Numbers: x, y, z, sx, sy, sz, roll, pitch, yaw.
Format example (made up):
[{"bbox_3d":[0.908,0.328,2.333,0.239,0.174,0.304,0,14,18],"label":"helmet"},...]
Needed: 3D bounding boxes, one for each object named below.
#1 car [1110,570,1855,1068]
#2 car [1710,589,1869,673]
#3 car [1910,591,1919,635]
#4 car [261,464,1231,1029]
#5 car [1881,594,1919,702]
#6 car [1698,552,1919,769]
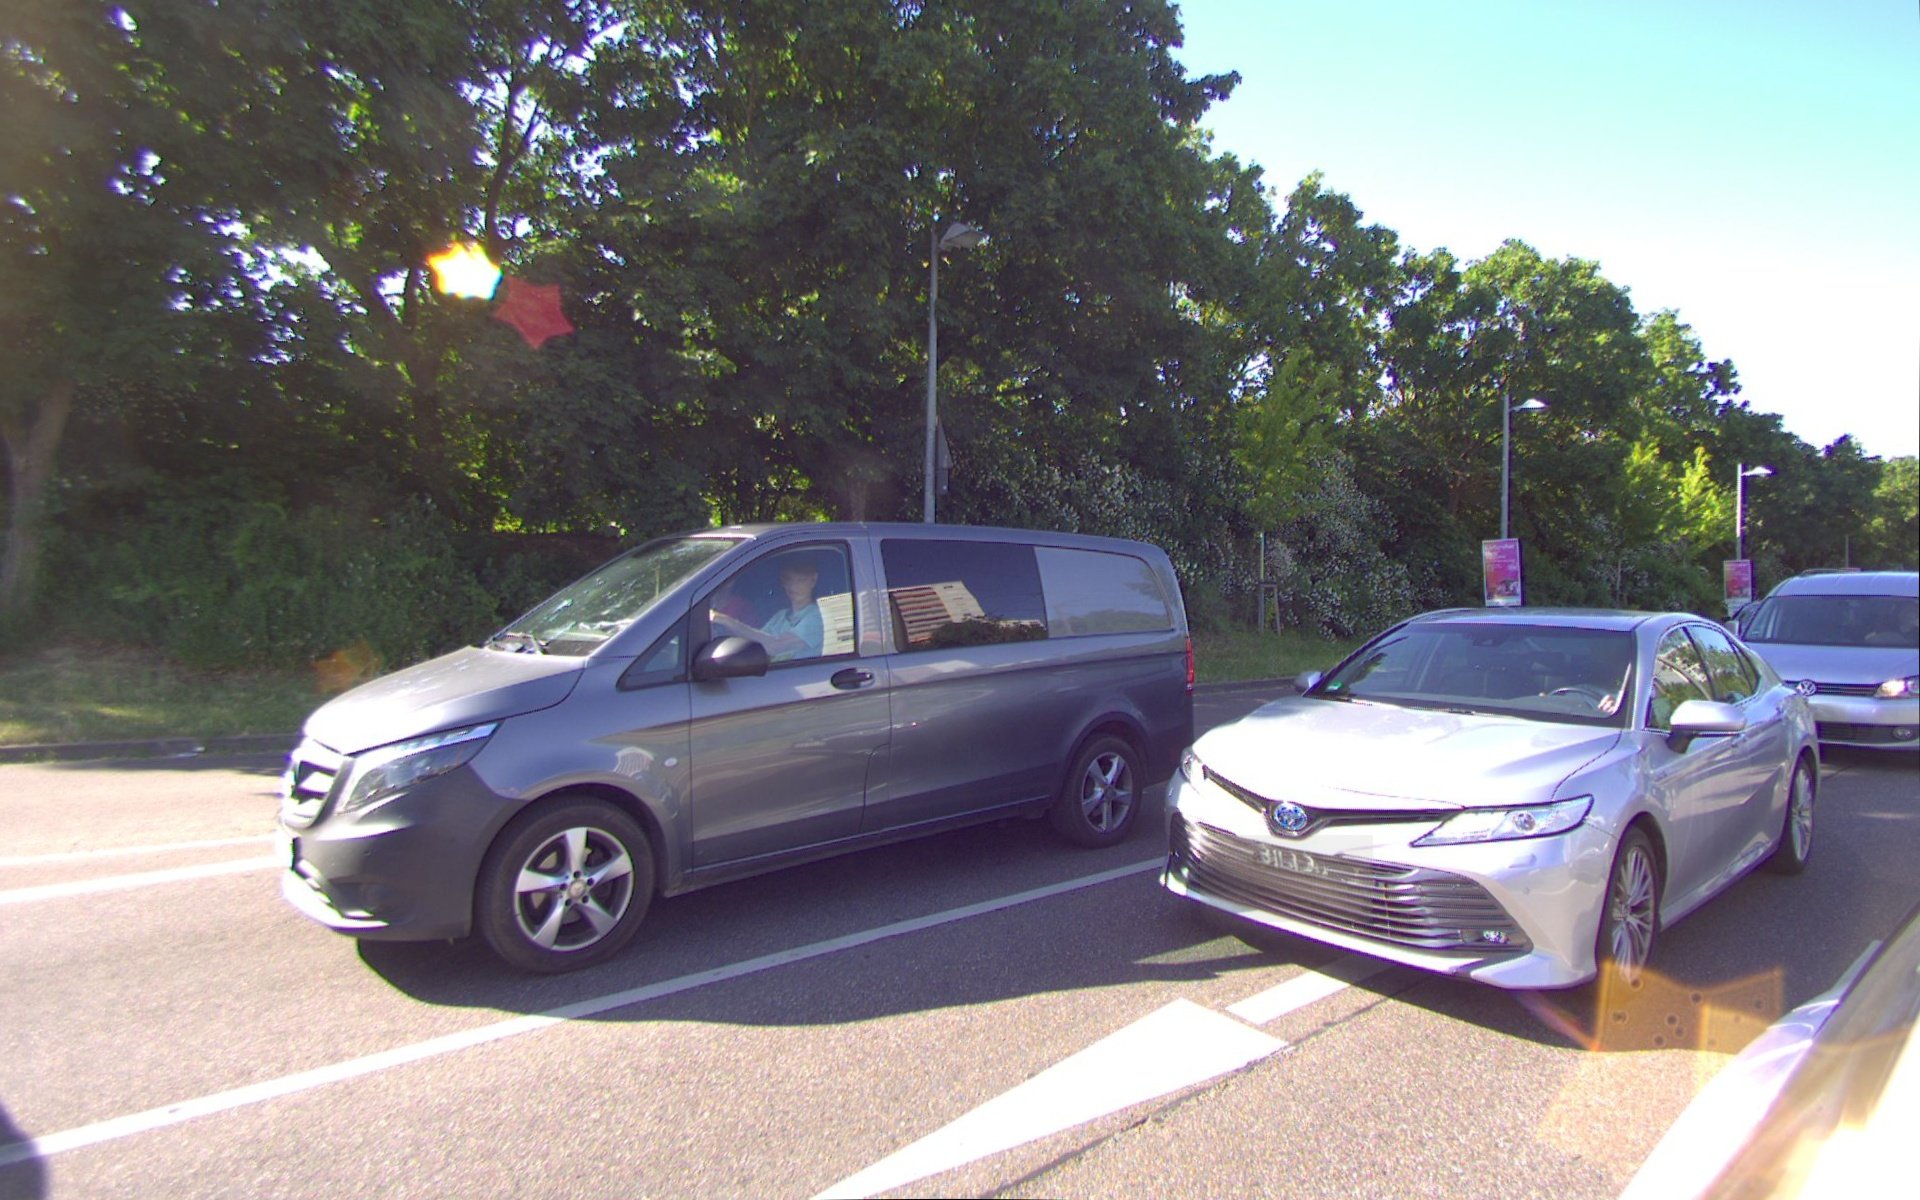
[{"bbox_3d":[2.997,0.662,5.257,4.599,1.512,1.808,0,0,-40],"label":"car"},{"bbox_3d":[16.961,0.555,20.640,4.151,1.527,1.771,-1,0,-40],"label":"car"},{"bbox_3d":[33.408,0.427,34.035,4.098,1.457,1.713,0,1,-41],"label":"car"},{"bbox_3d":[-0.782,0.456,5.643,5.011,1.875,1.809,0,2,-39],"label":"car"},{"bbox_3d":[15.004,0.674,14.926,4.126,1.472,1.715,0,1,-43],"label":"car"},{"bbox_3d":[9.513,0.482,10.557,4.504,1.844,1.809,-1,1,-39],"label":"car"}]
